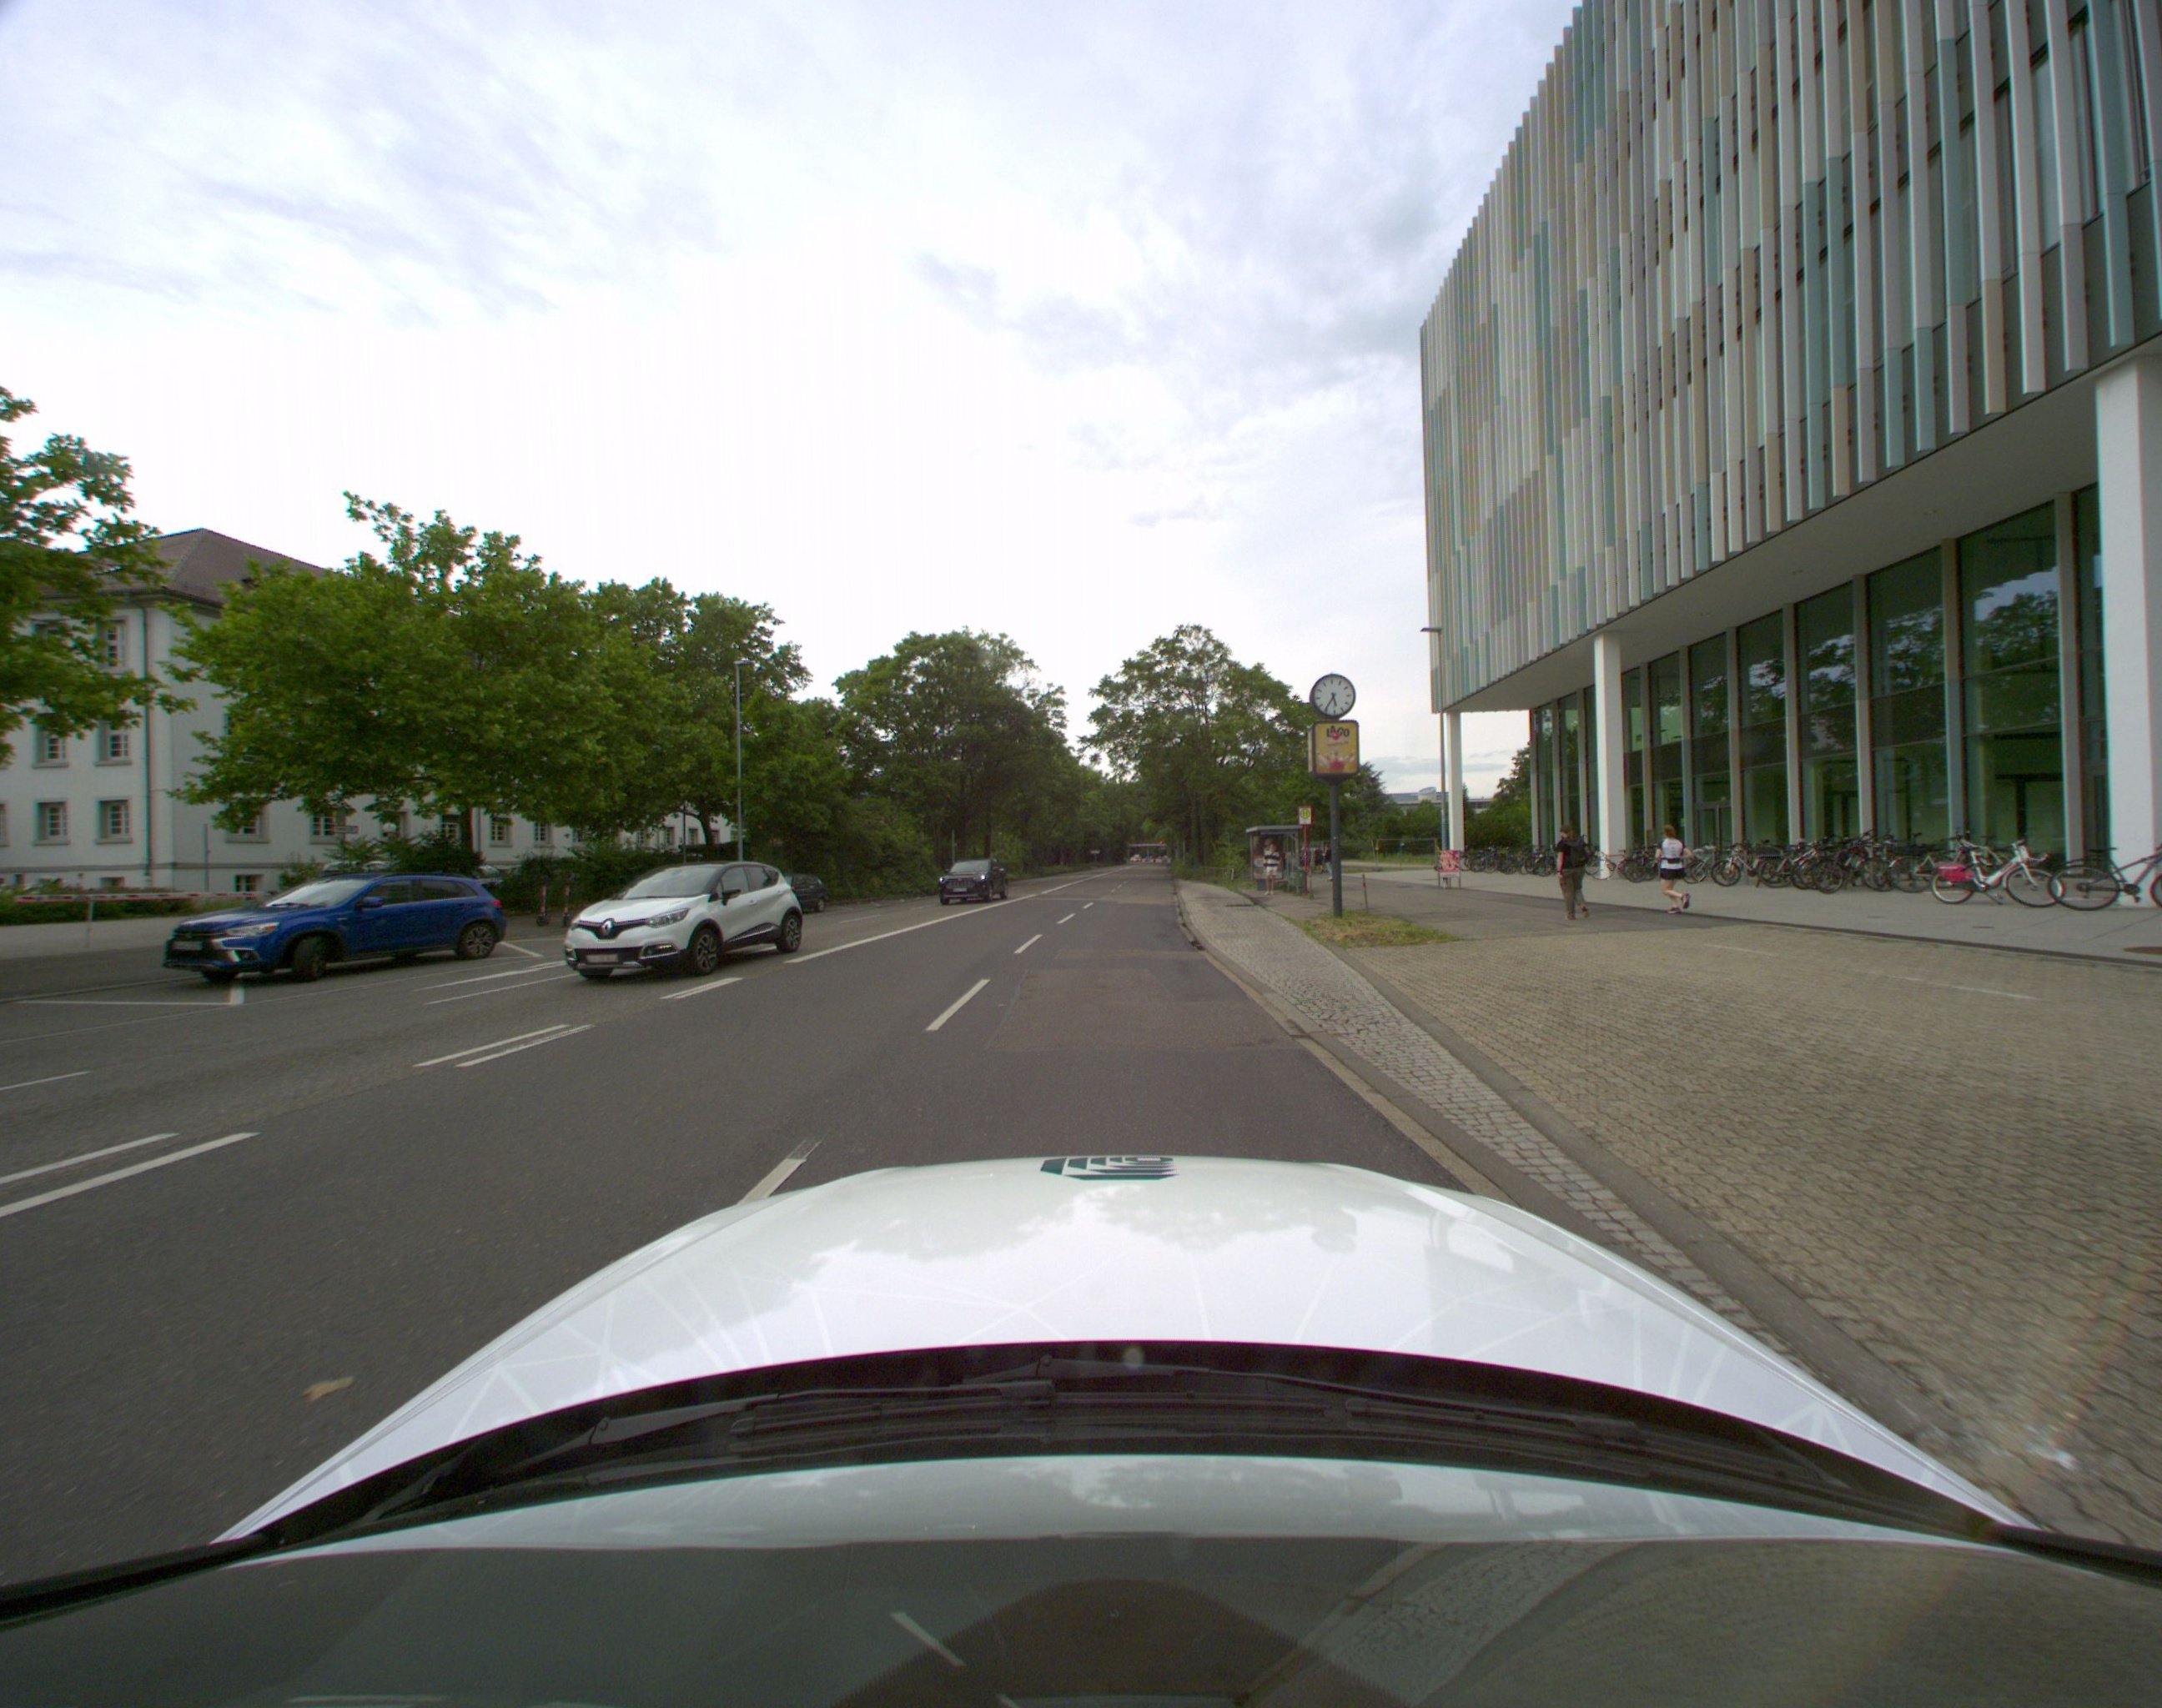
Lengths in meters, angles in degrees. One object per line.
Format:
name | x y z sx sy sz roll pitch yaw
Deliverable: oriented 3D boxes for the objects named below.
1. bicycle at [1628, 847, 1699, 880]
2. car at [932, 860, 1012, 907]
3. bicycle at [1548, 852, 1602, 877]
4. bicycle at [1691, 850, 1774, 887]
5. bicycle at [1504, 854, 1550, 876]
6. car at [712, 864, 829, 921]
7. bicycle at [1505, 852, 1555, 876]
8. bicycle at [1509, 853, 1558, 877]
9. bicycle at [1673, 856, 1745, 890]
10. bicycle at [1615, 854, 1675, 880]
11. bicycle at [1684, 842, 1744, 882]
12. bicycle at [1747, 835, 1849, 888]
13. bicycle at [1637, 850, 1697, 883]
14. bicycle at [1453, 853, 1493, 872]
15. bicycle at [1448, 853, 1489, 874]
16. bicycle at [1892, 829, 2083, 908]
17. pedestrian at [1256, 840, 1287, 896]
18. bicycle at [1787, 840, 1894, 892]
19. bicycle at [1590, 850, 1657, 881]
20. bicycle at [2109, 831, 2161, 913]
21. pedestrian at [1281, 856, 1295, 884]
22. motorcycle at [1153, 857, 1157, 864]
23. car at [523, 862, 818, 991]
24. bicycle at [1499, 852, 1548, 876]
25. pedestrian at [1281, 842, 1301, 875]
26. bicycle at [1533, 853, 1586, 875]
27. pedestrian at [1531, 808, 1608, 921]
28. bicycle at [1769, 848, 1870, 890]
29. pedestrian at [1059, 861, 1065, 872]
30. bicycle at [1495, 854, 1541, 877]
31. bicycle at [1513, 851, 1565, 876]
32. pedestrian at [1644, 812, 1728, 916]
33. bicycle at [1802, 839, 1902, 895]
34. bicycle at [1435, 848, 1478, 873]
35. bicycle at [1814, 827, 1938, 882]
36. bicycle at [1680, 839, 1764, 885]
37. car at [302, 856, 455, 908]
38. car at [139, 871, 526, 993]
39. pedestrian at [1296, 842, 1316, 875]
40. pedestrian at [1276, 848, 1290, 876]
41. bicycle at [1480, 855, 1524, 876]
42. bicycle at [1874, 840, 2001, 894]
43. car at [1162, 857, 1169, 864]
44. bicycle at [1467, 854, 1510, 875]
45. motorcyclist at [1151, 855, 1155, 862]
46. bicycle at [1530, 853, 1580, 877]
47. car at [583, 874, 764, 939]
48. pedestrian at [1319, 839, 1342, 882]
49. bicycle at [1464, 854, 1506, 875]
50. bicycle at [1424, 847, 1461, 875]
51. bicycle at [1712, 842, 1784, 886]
bicycle | 17.790 0.295 24.908 1.680 0.947 0.518 -2 -1 12
car | -3.961 1.050 30.481 1.893 1.593 4.524 -2 -1 6
bicycle | 17.506 0.368 28.879 1.524 0.834 0.557 -3 -1 6
bicycle | 16.597 0.362 20.770 1.598 0.875 0.557 -2 -1 6
bicycle | 18.353 0.456 33.535 1.595 0.884 0.517 -2 -1 5
car | -10.173 1.203 27.058 1.983 1.689 4.007 1 -1 6
bicycle | 17.599 0.388 31.946 1.598 0.875 0.557 -3 -1 6
bicycle | 18.297 0.448 32.969 1.598 0.875 0.557 -3 -1 6
bicycle | 17.330 0.527 22.499 1.598 0.896 0.367 -2 -1 6
bicycle | 17.665 0.408 25.536 1.427 0.746 0.557 -3 -1 6
bicycle | 17.550 0.224 22.596 1.190 1.050 0.436 -3 -1 12
bicycle | 16.608 0.180 18.906 1.632 1.091 0.574 -4 -1 14
bicycle | 17.043 0.363 23.692 1.276 0.875 0.557 -3 -1 6
bicycle | 18.805 0.397 39.093 1.600 0.875 0.556 -2 -1 2
bicycle | 18.220 0.445 38.292 1.598 0.875 0.557 -3 -1 6
bicycle | 14.693 0.231 13.314 0.633 1.140 2.202 -4 -1 2
pedestrian | 7.042 0.505 30.158 0.908 2.013 0.855 -3 1 5
bicycle | 16.162 0.263 17.355 1.598 0.982 0.557 -4 -1 6
bicycle | 16.350 0.342 24.566 1.598 0.875 0.557 -3 -1 6
bicycle | 14.882 0.227 10.509 0.607 1.080 1.959 -4 -1 -5
pedestrian | 15.304 1.177 60.296 0.820 2.014 0.721 -2 -1 5
motorcycle | 21.118 1.760 233.110 0.985 1.936 2.673 0 0 6
car | -5.894 0.942 12.408 1.983 1.547 4.187 -3 -1 6
bicycle | 17.669 0.390 32.527 1.598 0.875 0.557 -3 -1 6
pedestrian | 12.906 0.268 50.178 0.922 2.014 1.040 -2 -1 1
bicycle | 17.358 0.367 29.570 1.552 0.717 0.557 -3 -1 6
pedestrian | 9.133 0.195 15.266 0.838 2.014 0.896 -4 -1 7
bicycle | 16.250 0.330 17.948 1.598 0.875 0.557 -2 -1 6
pedestrian | -2.890 1.867 124.611 0.788 1.613 0.849 0 -1 6
bicycle | 18.477 0.477 34.487 1.598 0.875 0.557 -3 -1 6
bicycle | 17.395 0.375 30.930 1.598 0.875 0.557 -3 -1 6
pedestrian | 11.065 0.180 14.917 0.839 1.836 0.895 -2 -1 4
bicycle | 15.873 0.262 16.792 1.393 1.043 0.560 -4 -1 6
bicycle | 18.547 0.321 40.268 1.786 1.082 0.627 -4 -1 4
bicycle | 18.344 0.020 18.821 0.652 1.144 1.963 -3 -1 -43
bicycle | 16.985 0.215 21.609 1.634 1.102 0.574 -3 -1 9
car | -22.708 0.888 26.399 3.570 1.602 1.654 0 0 3
car | -11.981 1.123 13.603 1.849 1.607 4.602 0 0 8
pedestrian | 13.839 0.277 50.047 0.922 2.014 1.040 -2 -1 1
pedestrian | 14.859 0.559 59.986 0.820 2.014 0.721 -2 -1 2
bicycle | 18.427 0.498 35.688 1.598 0.875 0.557 -3 -1 6
bicycle | 16.594 0.249 15.819 1.594 0.936 0.571 -4 0 16
car | 23.742 1.737 229.208 1.834 2.014 4.007 0 0 6
bicycle | 18.362 0.478 36.718 1.598 0.875 0.557 -3 -1 6
motorcyclist | 20.512 1.372 233.015 1.058 2.014 0.844 0 -1 6
bicycle | 17.602 0.405 30.262 1.447 0.839 0.557 -3 -1 6
car | -10.752 1.309 21.975 1.862 1.424 4.741 1 0 10
pedestrian | 11.930 0.322 38.970 0.838 2.014 0.896 -2 -1 6
bicycle | 18.496 0.475 37.295 1.598 0.875 0.557 -3 -1 6
bicycle | 18.667 0.371 42.045 1.634 1.333 0.465 -4 -2 19
bicycle | 16.424 0.251 20.075 1.235 1.008 0.551 -3 -1 10
